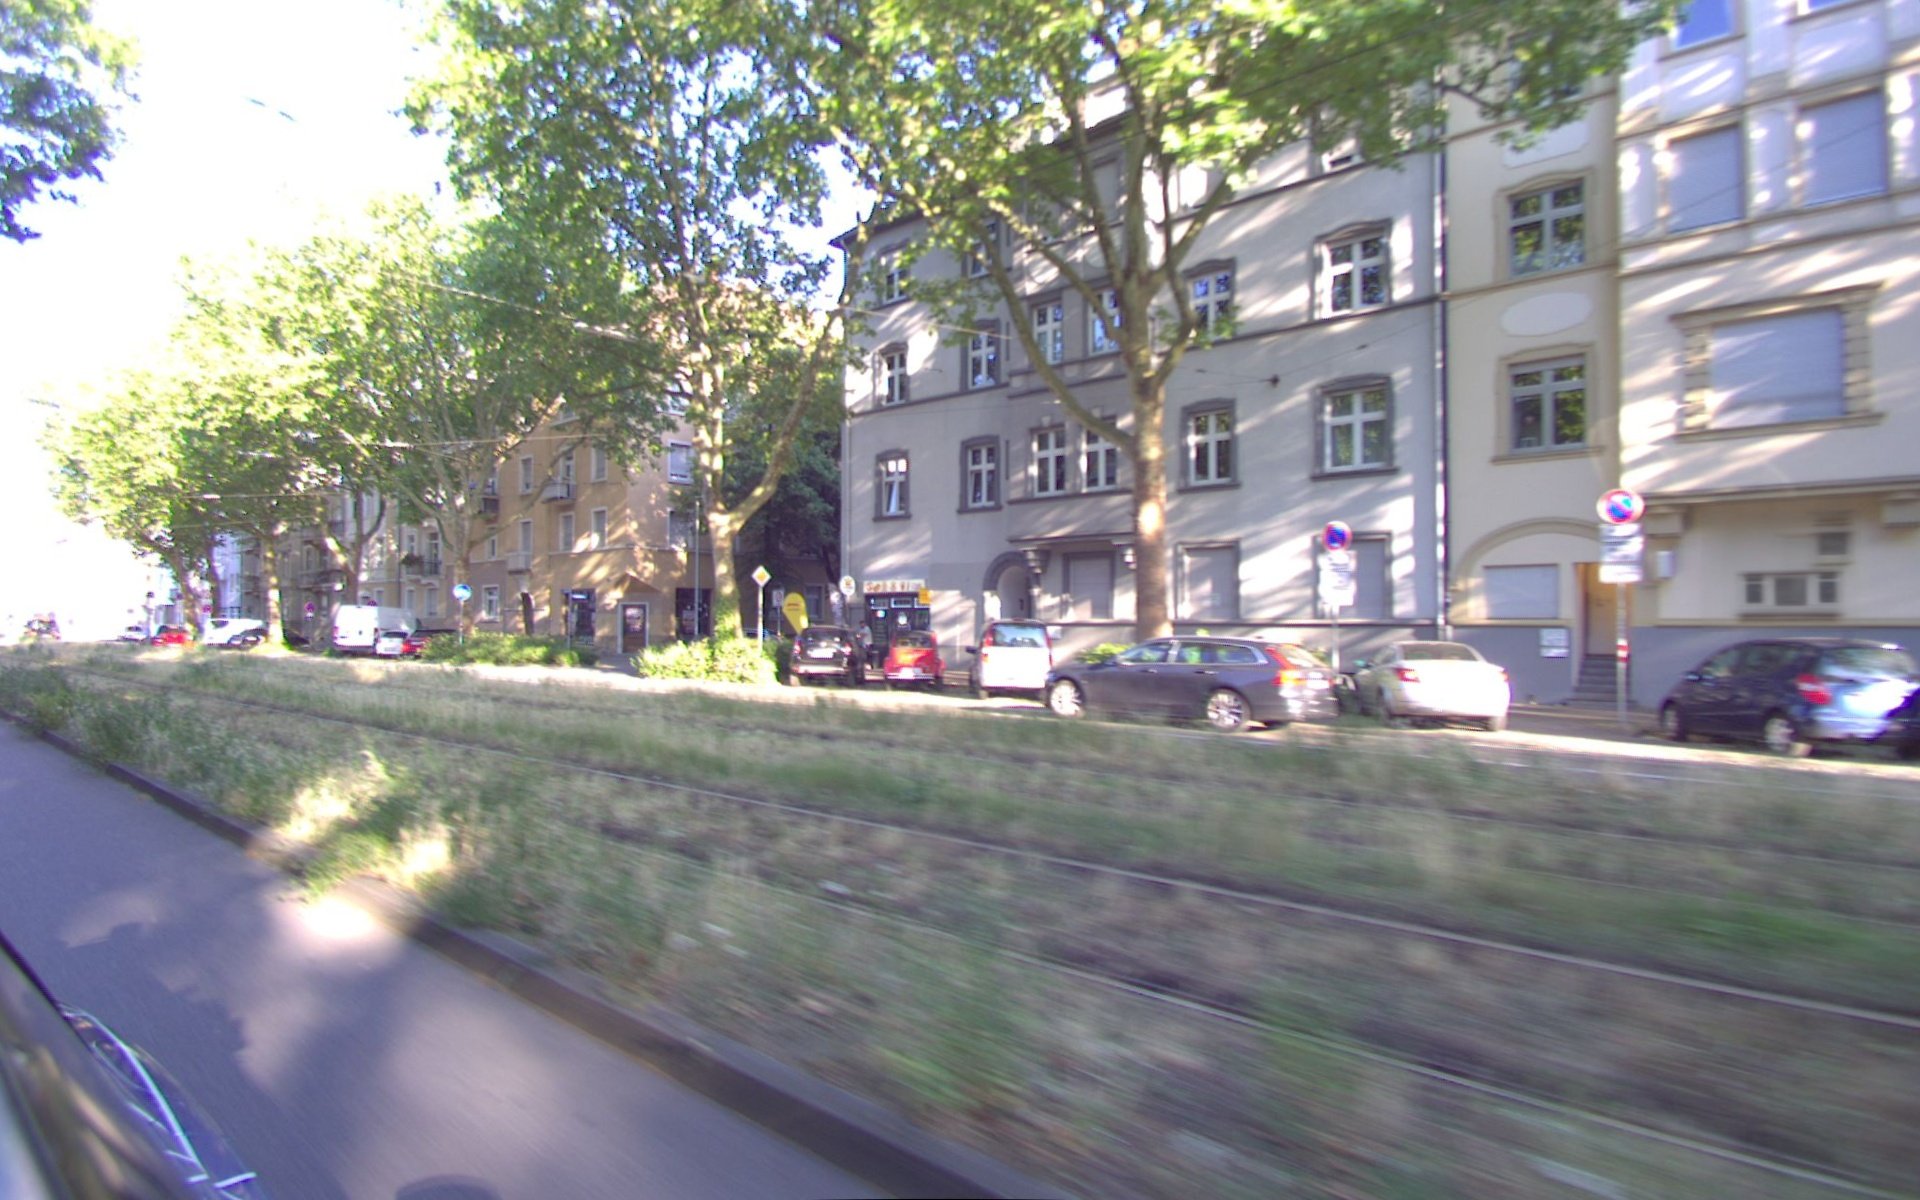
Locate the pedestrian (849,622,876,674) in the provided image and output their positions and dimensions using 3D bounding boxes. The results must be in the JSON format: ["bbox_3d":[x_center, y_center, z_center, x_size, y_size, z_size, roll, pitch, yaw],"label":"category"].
[{"bbox_3d":[-3.381,1.655,35.086,0.620,1.773,0.673,2,-3,-44],"label":"pedestrian"}]

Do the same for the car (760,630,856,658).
[{"bbox_3d":[-7.493,2.153,50.062,4.370,1.346,1.790,0,-2,11],"label":"car"}]

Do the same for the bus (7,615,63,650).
[{"bbox_3d":[-96.035,3.258,104.972,11.976,3.400,3.219,0,-1,43],"label":"bus"}]

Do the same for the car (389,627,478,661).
[{"bbox_3d":[-23.828,2.012,45.932,1.717,1.477,3.699,0,-3,9],"label":"car"}]

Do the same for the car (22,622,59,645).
[{"bbox_3d":[-72.191,2.612,79.447,4.778,1.706,1.848,0,-1,45],"label":"car"}]

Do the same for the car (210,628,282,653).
[{"bbox_3d":[-45.106,2.542,64.067,1.697,1.502,4.177,0,-1,-1],"label":"car"}]

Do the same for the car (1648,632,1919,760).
[{"bbox_3d":[11.859,1.313,14.395,1.835,1.565,3.988,-1,-4,9],"label":"car"}]

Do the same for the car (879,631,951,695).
[{"bbox_3d":[-1.093,1.568,26.298,1.564,1.459,3.997,0,-1,2],"label":"car"}]

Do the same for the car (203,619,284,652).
[{"bbox_3d":[-46.844,2.290,66.294,1.697,2.082,5.248,0,-1,-2],"label":"car"}]

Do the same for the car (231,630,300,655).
[{"bbox_3d":[-42.281,2.587,61.684,1.697,1.433,3.729,0,-1,-1],"label":"car"}]

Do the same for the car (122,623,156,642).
[{"bbox_3d":[-81.019,3.175,99.843,4.653,1.800,1.883,0,-1,43],"label":"car"}]

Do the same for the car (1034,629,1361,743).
[{"bbox_3d":[3.604,1.242,16.141,1.725,1.471,4.928,1,-1,-45],"label":"car"}]

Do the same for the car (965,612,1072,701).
[{"bbox_3d":[1.279,1.241,23.749,1.970,1.896,4.004,1,-1,-4],"label":"car"}]

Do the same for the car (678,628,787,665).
[{"bbox_3d":[-10.321,2.087,46.059,4.482,1.514,1.790,1,-1,11],"label":"car"}]

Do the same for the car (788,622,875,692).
[{"bbox_3d":[-3.463,1.503,27.920,1.760,1.736,3.997,0,-1,2],"label":"car"}]

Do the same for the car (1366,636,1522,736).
[{"bbox_3d":[7.915,1.336,16.902,1.570,1.366,3.982,0,-1,14],"label":"car"}]

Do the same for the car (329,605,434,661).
[{"bbox_3d":[-28.230,1.596,49.643,2.096,2.548,5.510,0,-1,-1],"label":"car"}]

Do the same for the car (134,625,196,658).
[{"bbox_3d":[-40.038,2.079,50.952,3.998,1.586,1.771,-1,-2,42],"label":"car"}]

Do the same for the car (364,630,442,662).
[{"bbox_3d":[-26.127,2.122,47.591,1.711,1.410,3.710,0,-1,-1],"label":"car"}]
